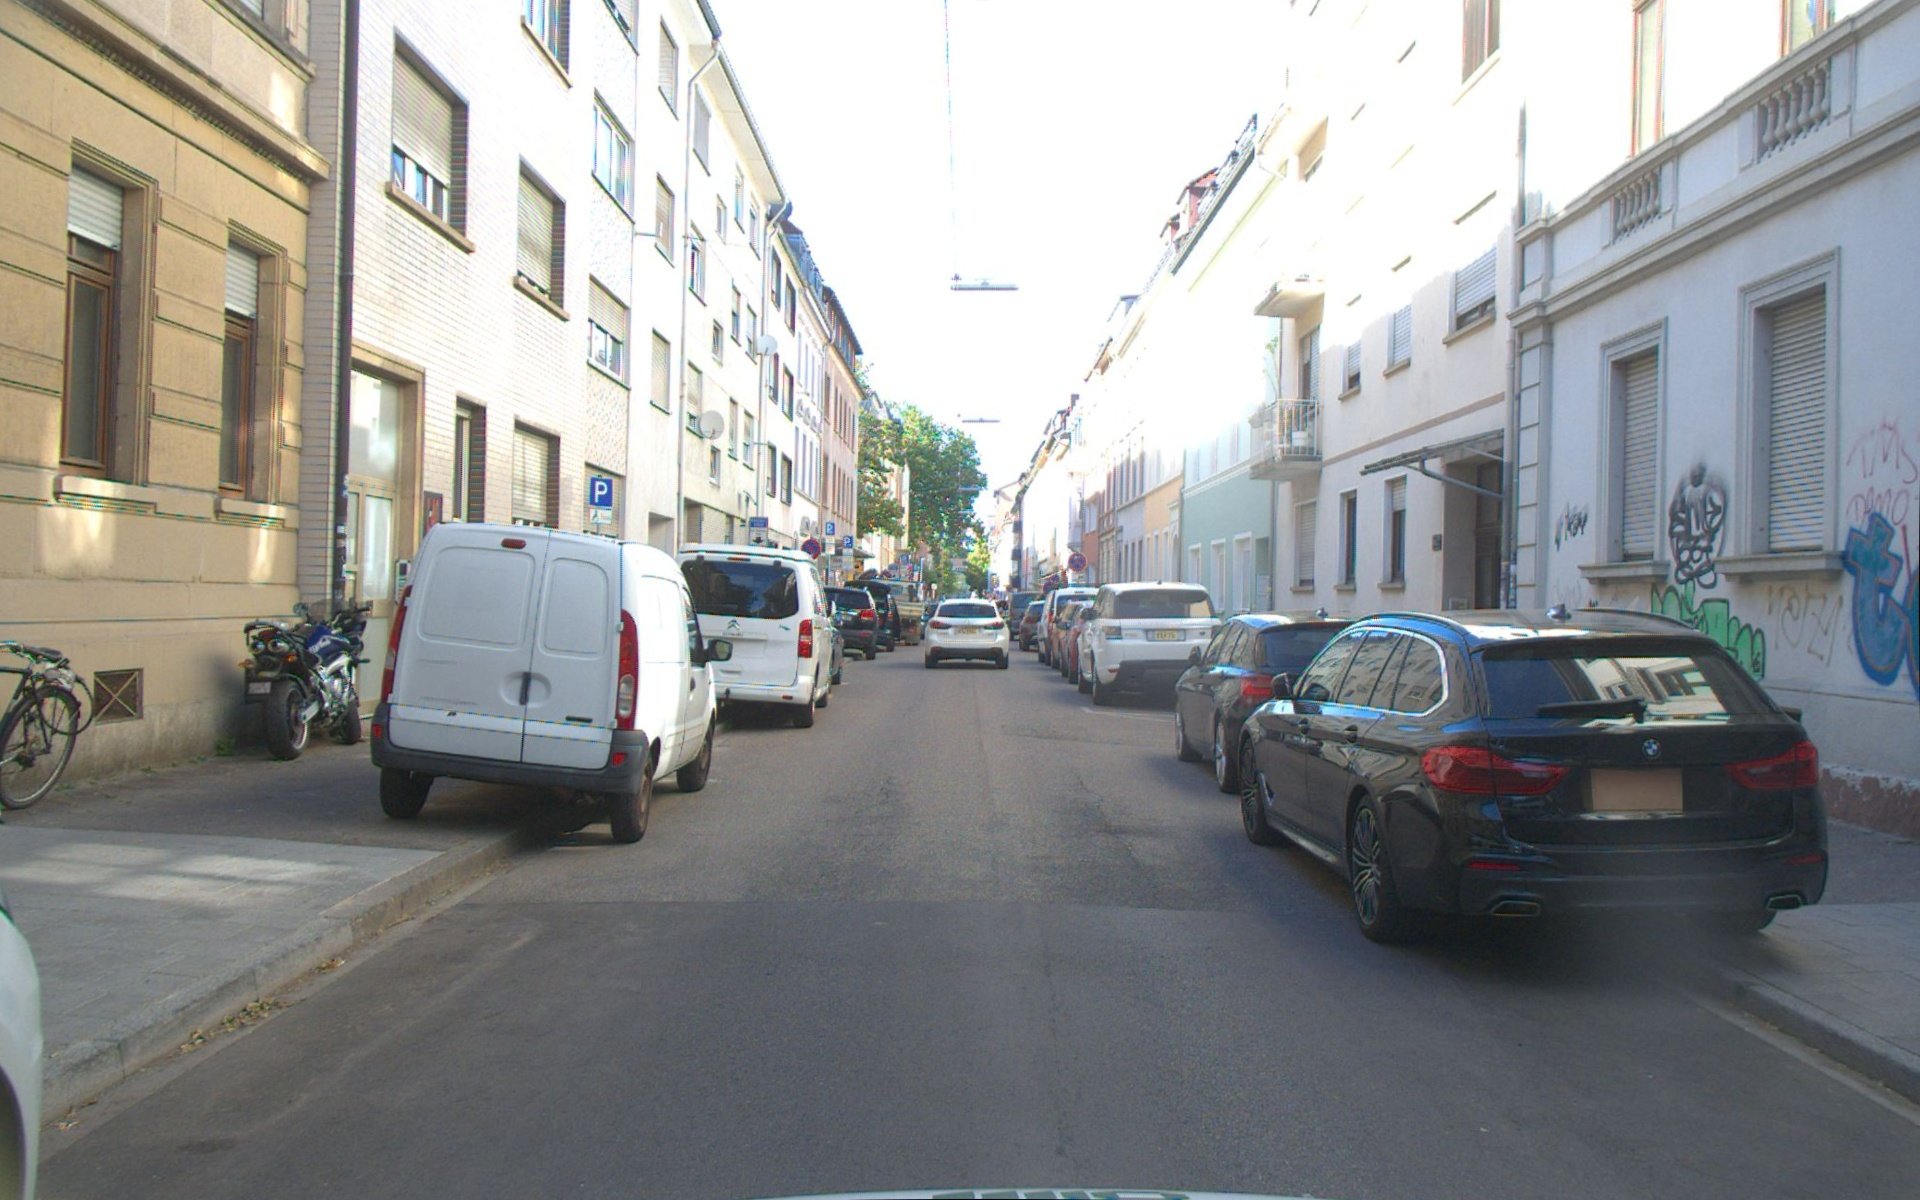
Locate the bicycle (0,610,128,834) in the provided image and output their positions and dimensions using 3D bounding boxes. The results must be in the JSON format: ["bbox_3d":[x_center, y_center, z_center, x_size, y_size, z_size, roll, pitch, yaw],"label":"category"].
[{"bbox_3d":[-5.183,0.636,9.103,0.424,1.145,1.508,2,0,-1],"label":"bicycle"}]

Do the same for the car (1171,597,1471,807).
[{"bbox_3d":[2.973,0.767,14.426,1.711,1.474,3.869,3,0,0],"label":"car"}]

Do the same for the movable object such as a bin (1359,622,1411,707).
[{"bbox_3d":[5.581,0.843,21.741,0.565,1.089,0.553,0,0,3],"label":"movable object such as a bin"}]

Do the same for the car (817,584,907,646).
[{"bbox_3d":[-2.926,0.448,50.718,2.391,1.735,5.242,2,0,0],"label":"car"}]

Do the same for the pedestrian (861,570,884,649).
[{"bbox_3d":[-2.552,0.282,48.369,0.606,2.268,0.688,1,-2,0],"label":"pedestrian"}]

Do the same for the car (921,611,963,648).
[{"bbox_3d":[-0.778,1.220,69.678,1.722,1.440,3.999,-1,0,-1],"label":"car"}]

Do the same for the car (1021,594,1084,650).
[{"bbox_3d":[2.857,0.657,51.850,1.704,1.604,4.377,1,0,0],"label":"car"}]

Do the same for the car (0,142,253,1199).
[{"bbox_3d":[-2.205,0.433,0.492,1.980,2.049,4.543,1,0,0],"label":"car"}]

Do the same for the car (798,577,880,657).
[{"bbox_3d":[-3.014,0.380,41.861,1.842,1.785,4.540,4,0,-3],"label":"car"}]

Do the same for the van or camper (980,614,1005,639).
[{"bbox_3d":[2.649,2.193,133.811,1.952,1.960,4.000,1,-1,0],"label":"van or camper"}]

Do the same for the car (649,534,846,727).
[{"bbox_3d":[-2.480,0.313,20.420,1.856,1.992,4.780,3,0,-2],"label":"car"}]

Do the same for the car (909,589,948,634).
[{"bbox_3d":[-1.421,0.508,74.249,1.614,1.900,3.998,1,0,-2],"label":"car"}]

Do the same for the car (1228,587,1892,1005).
[{"bbox_3d":[2.748,0.755,8.873,1.778,1.546,4.727,3,0,0],"label":"car"}]

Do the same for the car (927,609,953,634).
[{"bbox_3d":[-1.331,1.418,110.817,1.591,1.625,3.580,2,0,0],"label":"car"}]

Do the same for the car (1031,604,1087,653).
[{"bbox_3d":[3.461,0.983,58.662,1.706,1.596,4.032,1,0,0],"label":"car"}]

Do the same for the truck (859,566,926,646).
[{"bbox_3d":[-2.442,0.264,58.481,2.114,2.636,6.243,1,-1,-4],"label":"truck"}]

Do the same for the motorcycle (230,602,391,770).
[{"bbox_3d":[-5.102,0.631,13.125,0.424,1.206,2.121,2,0,-1],"label":"motorcycle"}]

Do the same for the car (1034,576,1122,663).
[{"bbox_3d":[2.856,0.475,40.836,1.746,1.996,4.335,1,0,-1],"label":"car"}]

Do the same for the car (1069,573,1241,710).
[{"bbox_3d":[2.805,0.537,24.854,1.964,1.815,4.938,1,0,0],"label":"car"}]

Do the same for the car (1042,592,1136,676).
[{"bbox_3d":[2.762,0.701,36.024,1.549,1.660,3.680,3,0,-2],"label":"car"}]

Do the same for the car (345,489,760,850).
[{"bbox_3d":[-2.555,0.378,11.423,1.709,1.908,4.090,5,0,0],"label":"car"}]

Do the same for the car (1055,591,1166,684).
[{"bbox_3d":[2.779,0.651,31.313,1.706,1.596,4.032,1,0,0],"label":"car"}]

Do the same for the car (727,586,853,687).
[{"bbox_3d":[-2.720,0.555,27.273,1.672,1.475,4.300,2,0,-1],"label":"car"}]

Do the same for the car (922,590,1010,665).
[{"bbox_3d":[0.168,0.573,36.058,1.796,1.512,4.057,1,0,1],"label":"car"}]

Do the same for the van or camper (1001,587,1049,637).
[{"bbox_3d":[2.765,0.500,70.901,1.739,2.072,4.568,0,0,-2],"label":"van or camper"}]
